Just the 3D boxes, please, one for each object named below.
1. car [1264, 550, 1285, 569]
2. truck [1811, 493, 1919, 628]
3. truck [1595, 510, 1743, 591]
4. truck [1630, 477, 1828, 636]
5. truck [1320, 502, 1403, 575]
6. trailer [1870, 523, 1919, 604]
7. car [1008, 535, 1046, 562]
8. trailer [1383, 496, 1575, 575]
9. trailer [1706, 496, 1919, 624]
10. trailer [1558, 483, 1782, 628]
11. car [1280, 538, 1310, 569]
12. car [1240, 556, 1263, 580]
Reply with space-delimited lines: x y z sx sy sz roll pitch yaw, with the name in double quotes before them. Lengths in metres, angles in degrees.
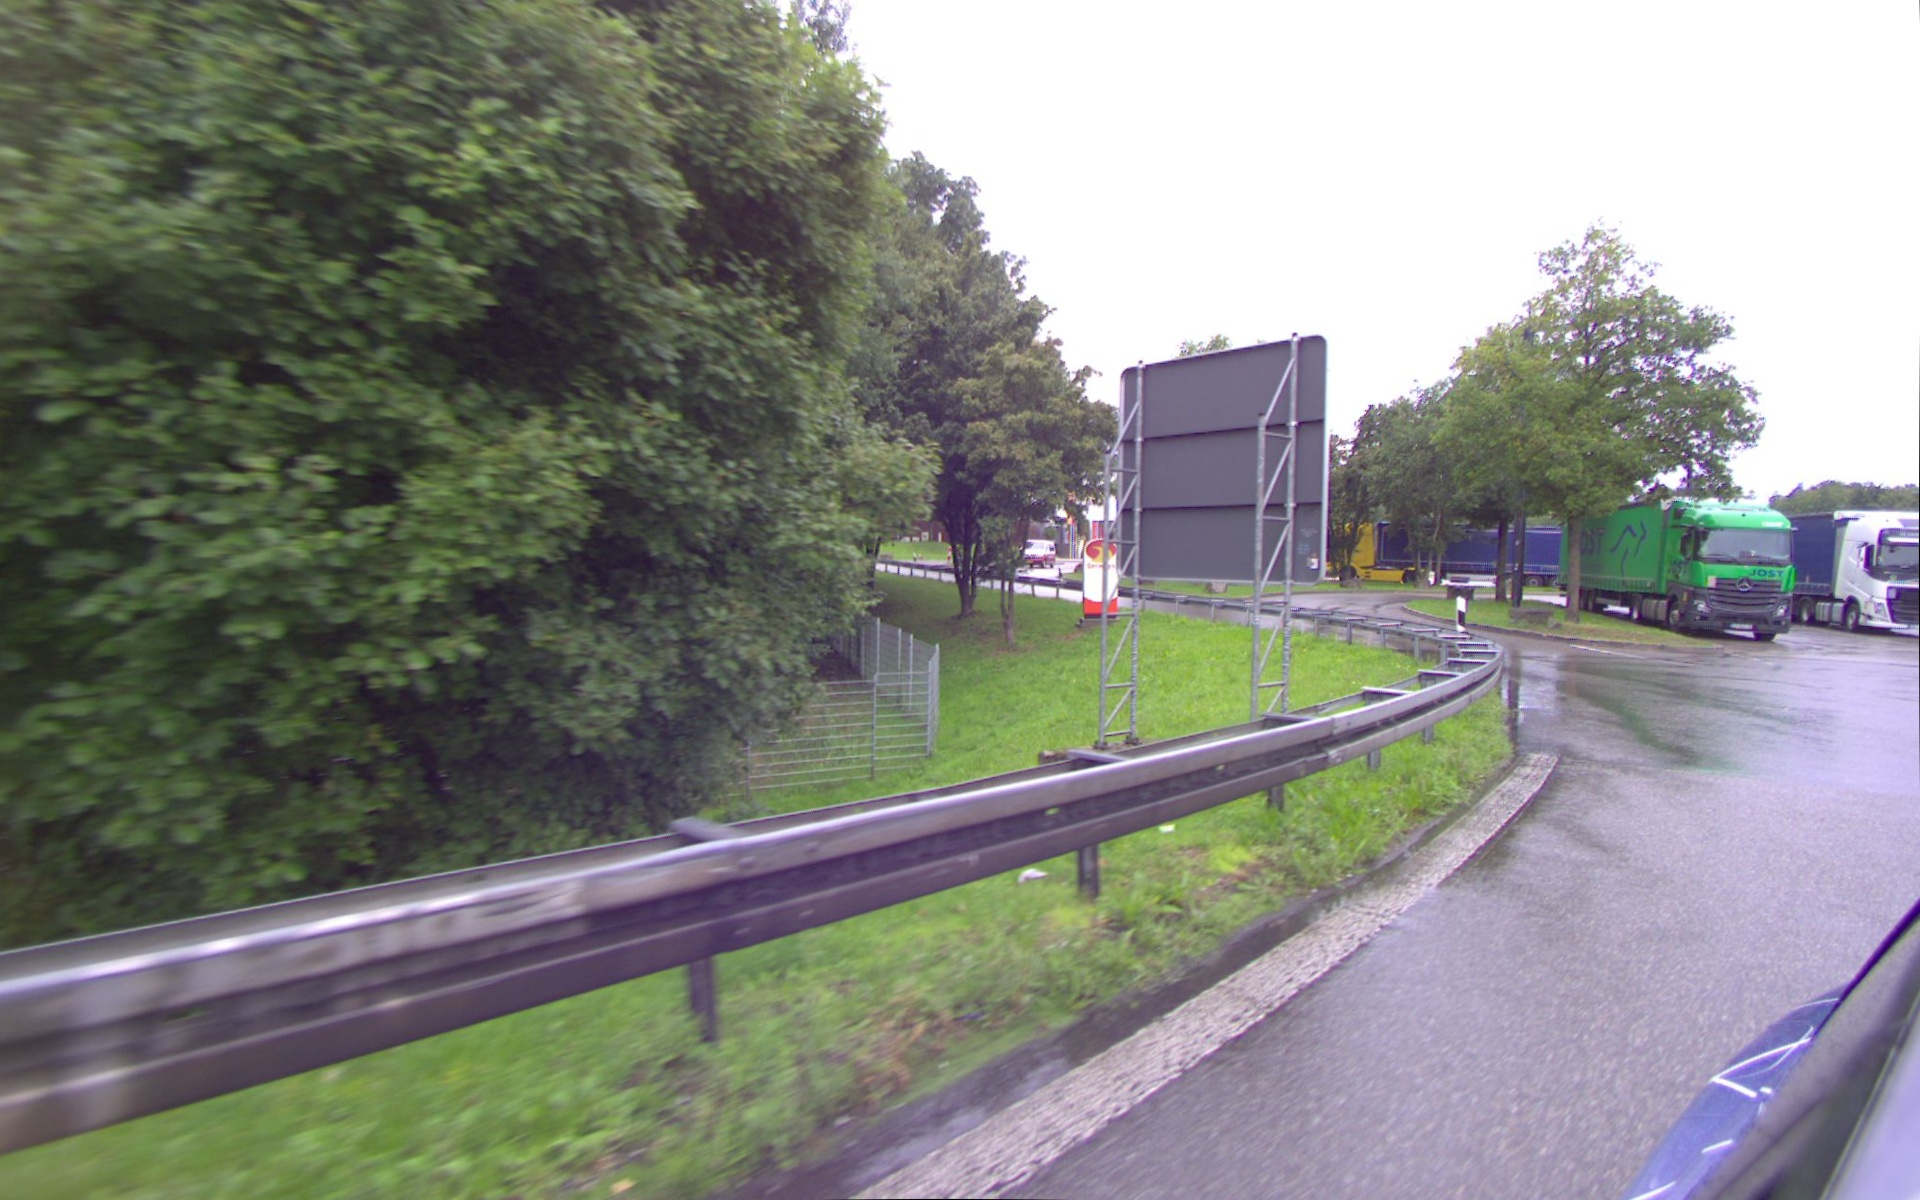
"car" 29.938 -3.808 96.490 1.802 1.697 3.980 0 0 16
"truck" 31.333 -1.314 33.695 2.793 4.195 5.268 3 3 21
"truck" 42.604 -3.036 61.138 6.458 4.562 3.238 3 3 21
"truck" 22.602 -1.347 30.198 2.792 4.199 5.962 3 3 19
"truck" 26.637 -4.012 67.395 5.017 4.609 3.414 0 0 21
"trailer" 47.458 -1.599 46.867 2.810 3.966 13.867 3 4 20
"car" 5.044 -3.787 75.195 1.941 1.756 4.520 0 0 16
"trailer" 32.945 -4.001 64.893 10.611 4.609 3.414 0 0 22
"trailer" 33.910 -1.688 40.421 2.793 4.221 13.903 3 4 21
"trailer" 24.932 -1.693 36.681 2.791 4.199 13.885 3 4 19
"car" 29.010 -3.985 87.742 1.971 2.543 4.721 3 2 14
"car" 23.851 -2.611 82.918 1.759 1.905 3.980 0 0 16
